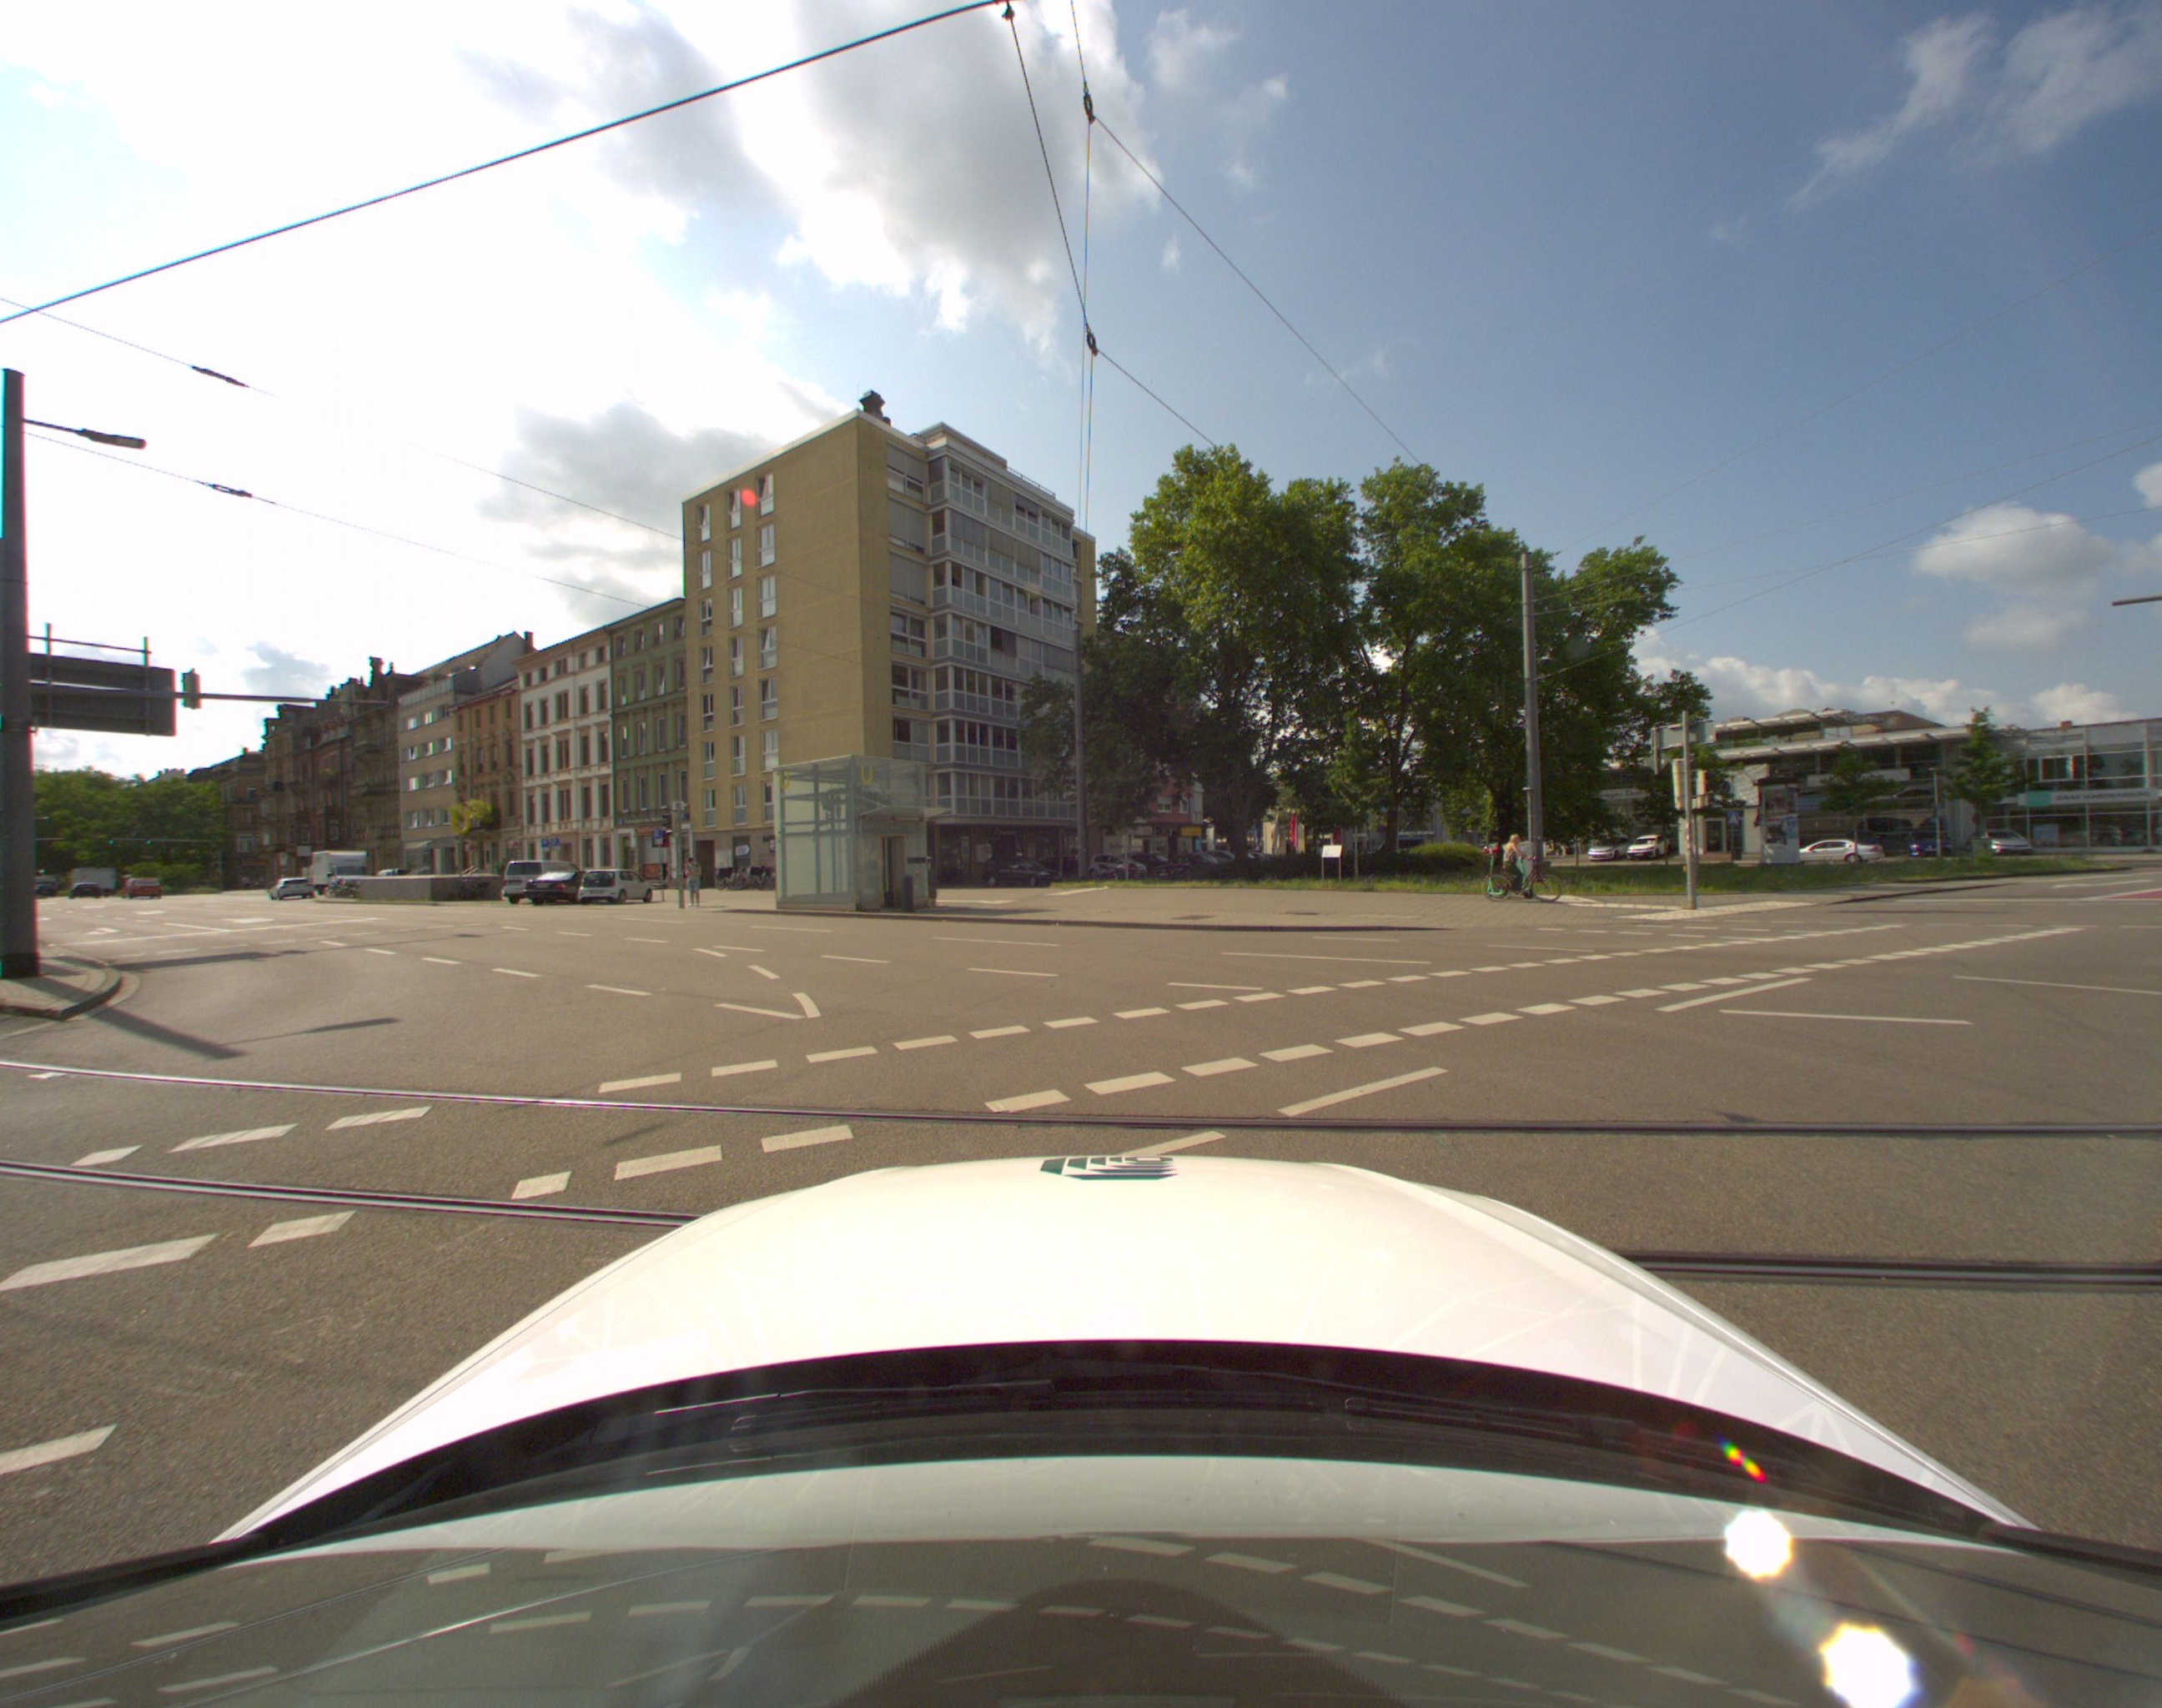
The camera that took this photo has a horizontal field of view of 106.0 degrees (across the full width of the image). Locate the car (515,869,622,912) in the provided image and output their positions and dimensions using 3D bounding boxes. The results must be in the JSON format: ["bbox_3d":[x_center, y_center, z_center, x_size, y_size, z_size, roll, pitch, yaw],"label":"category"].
[{"bbox_3d":[-22.291,1.536,35.690,1.883,1.468,5.054,0,2,-6],"label":"car"}]

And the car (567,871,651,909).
[{"bbox_3d":[-19.856,1.495,34.429,1.711,1.440,3.505,1,0,-6],"label":"car"}]

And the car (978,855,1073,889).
[{"bbox_3d":[-2.780,0.872,40.269,4.335,1.585,2.013,-1,-1,33],"label":"car"}]

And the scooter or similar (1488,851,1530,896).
[{"bbox_3d":[11.365,0.518,21.613,0.924,1.157,0.381,-1,1,-4],"label":"scooter or similar"}]

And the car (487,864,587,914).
[{"bbox_3d":[-25.465,1.569,38.365,2.073,2.084,4.883,0,0,-9],"label":"car"}]

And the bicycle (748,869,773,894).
[{"bbox_3d":[-16.610,1.410,42.167,1.624,1.201,0.491,2,3,39],"label":"bicycle"}]

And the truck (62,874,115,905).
[{"bbox_3d":[-109.663,3.904,89.946,7.202,3.286,3.201,-2,-1,36],"label":"truck"}]

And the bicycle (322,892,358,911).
[{"bbox_3d":[-50.059,3.202,55.040,0.368,1.085,1.774,2,2,23],"label":"bicycle"}]

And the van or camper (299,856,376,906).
[{"bbox_3d":[-55.281,1.909,60.488,7.541,3.330,2.739,1,2,36],"label":"van or camper"}]

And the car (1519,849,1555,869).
[{"bbox_3d":[37.556,0.405,67.096,1.665,1.596,4.024,-4,-3,42],"label":"car"}]

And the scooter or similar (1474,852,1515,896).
[{"bbox_3d":[11.268,0.540,22.194,0.921,1.157,0.382,0,1,7],"label":"scooter or similar"}]

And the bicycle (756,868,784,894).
[{"bbox_3d":[-15.569,1.328,40.703,1.624,1.201,0.552,2,3,39],"label":"bicycle"}]

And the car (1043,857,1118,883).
[{"bbox_3d":[-0.055,0.903,45.883,3.948,1.327,1.596,-3,-2,34],"label":"car"}]

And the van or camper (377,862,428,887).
[{"bbox_3d":[-59.446,1.761,71.335,5.230,1.904,2.013,1,5,35],"label":"van or camper"}]

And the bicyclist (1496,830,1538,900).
[{"bbox_3d":[11.095,0.290,20.753,0.818,1.745,0.716,-3,-2,23],"label":"bicyclist"}]

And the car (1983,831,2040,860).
[{"bbox_3d":[53.927,-0.485,47.265,4.023,1.552,1.902,-1,-1,-44],"label":"car"}]

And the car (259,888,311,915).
[{"bbox_3d":[-54.902,3.236,56.148,4.287,1.436,1.809,1,5,37],"label":"car"}]

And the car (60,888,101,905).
[{"bbox_3d":[-95.915,4.048,78.071,3.948,1.508,2.013,-2,0,33],"label":"car"}]

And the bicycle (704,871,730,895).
[{"bbox_3d":[-19.373,1.538,43.319,1.624,1.201,0.491,1,2,35],"label":"bicycle"}]

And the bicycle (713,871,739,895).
[{"bbox_3d":[-19.086,1.542,43.735,1.624,1.201,0.491,1,2,35],"label":"bicycle"}]

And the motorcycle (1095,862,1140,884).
[{"bbox_3d":[1.599,0.818,36.102,1.888,0.903,0.603,-2,0,-9],"label":"motorcycle"}]

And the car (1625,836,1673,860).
[{"bbox_3d":[42.380,-0.464,60.737,4.022,1.604,2.049,-2,-1,-43],"label":"car"}]

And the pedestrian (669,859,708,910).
[{"bbox_3d":[-14.051,1.082,29.185,0.778,1.760,0.998,-2,-1,11],"label":"pedestrian"}]

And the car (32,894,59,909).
[{"bbox_3d":[-121.914,5.541,95.887,3.948,1.662,1.787,-2,-1,36],"label":"car"}]

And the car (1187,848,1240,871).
[{"bbox_3d":[10.029,0.424,61.673,3.572,1.594,1.676,-3,-2,38],"label":"car"}]

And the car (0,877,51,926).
[{"bbox_3d":[-66.916,2.927,51.286,5.508,2.621,2.013,1,3,34],"label":"car"}]

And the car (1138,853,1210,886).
[{"bbox_3d":[4.697,0.722,40.685,1.774,1.419,4.026,2,3,37],"label":"car"}]

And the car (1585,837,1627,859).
[{"bbox_3d":[40.727,-0.421,63.145,1.975,1.574,4.024,-4,-3,43],"label":"car"}]

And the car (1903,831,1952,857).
[{"bbox_3d":[50.510,-0.629,48.618,4.023,1.445,1.902,-1,-1,-44],"label":"car"}]

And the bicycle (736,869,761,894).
[{"bbox_3d":[-17.085,1.415,41.846,1.624,1.201,0.491,2,3,39],"label":"bicycle"}]

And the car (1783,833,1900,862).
[{"bbox_3d":[43.135,-0.338,46.277,2.008,1.354,4.500,-1,-2,-34],"label":"car"}]

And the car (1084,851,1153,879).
[{"bbox_3d":[2.254,0.690,49.004,3.527,1.530,2.013,-3,-2,34],"label":"car"}]

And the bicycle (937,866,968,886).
[{"bbox_3d":[-6.746,1.165,42.789,0.673,1.020,1.791,-2,-1,28],"label":"bicycle"}]

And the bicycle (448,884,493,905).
[{"bbox_3d":[-31.132,2.051,41.542,0.506,1.004,1.789,1,0,28],"label":"bicycle"}]

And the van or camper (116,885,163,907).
[{"bbox_3d":[-85.580,3.818,73.998,4.464,1.915,2.028,-3,-2,31],"label":"van or camper"}]

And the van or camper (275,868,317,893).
[{"bbox_3d":[-80.401,2.713,83.381,5.492,2.474,2.013,-2,0,35],"label":"van or camper"}]

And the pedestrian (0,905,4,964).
[{"bbox_3d":[-22.204,1.385,16.179,0.785,1.673,0.850,1,3,33],"label":"pedestrian"}]

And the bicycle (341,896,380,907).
[{"bbox_3d":[-45.362,2.977,51.282,1.762,0.586,0.637,-1,2,-6],"label":"bicycle"}]

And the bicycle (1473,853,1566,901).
[{"bbox_3d":[11.091,0.595,20.674,1.968,1.127,0.794,-3,-2,23],"label":"bicycle"}]

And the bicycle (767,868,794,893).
[{"bbox_3d":[-15.184,1.329,41.121,1.624,1.201,0.491,2,3,39],"label":"bicycle"}]

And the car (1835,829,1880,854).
[{"bbox_3d":[49.297,-0.816,51.743,1.901,1.445,4.025,-2,0,42],"label":"car"}]
